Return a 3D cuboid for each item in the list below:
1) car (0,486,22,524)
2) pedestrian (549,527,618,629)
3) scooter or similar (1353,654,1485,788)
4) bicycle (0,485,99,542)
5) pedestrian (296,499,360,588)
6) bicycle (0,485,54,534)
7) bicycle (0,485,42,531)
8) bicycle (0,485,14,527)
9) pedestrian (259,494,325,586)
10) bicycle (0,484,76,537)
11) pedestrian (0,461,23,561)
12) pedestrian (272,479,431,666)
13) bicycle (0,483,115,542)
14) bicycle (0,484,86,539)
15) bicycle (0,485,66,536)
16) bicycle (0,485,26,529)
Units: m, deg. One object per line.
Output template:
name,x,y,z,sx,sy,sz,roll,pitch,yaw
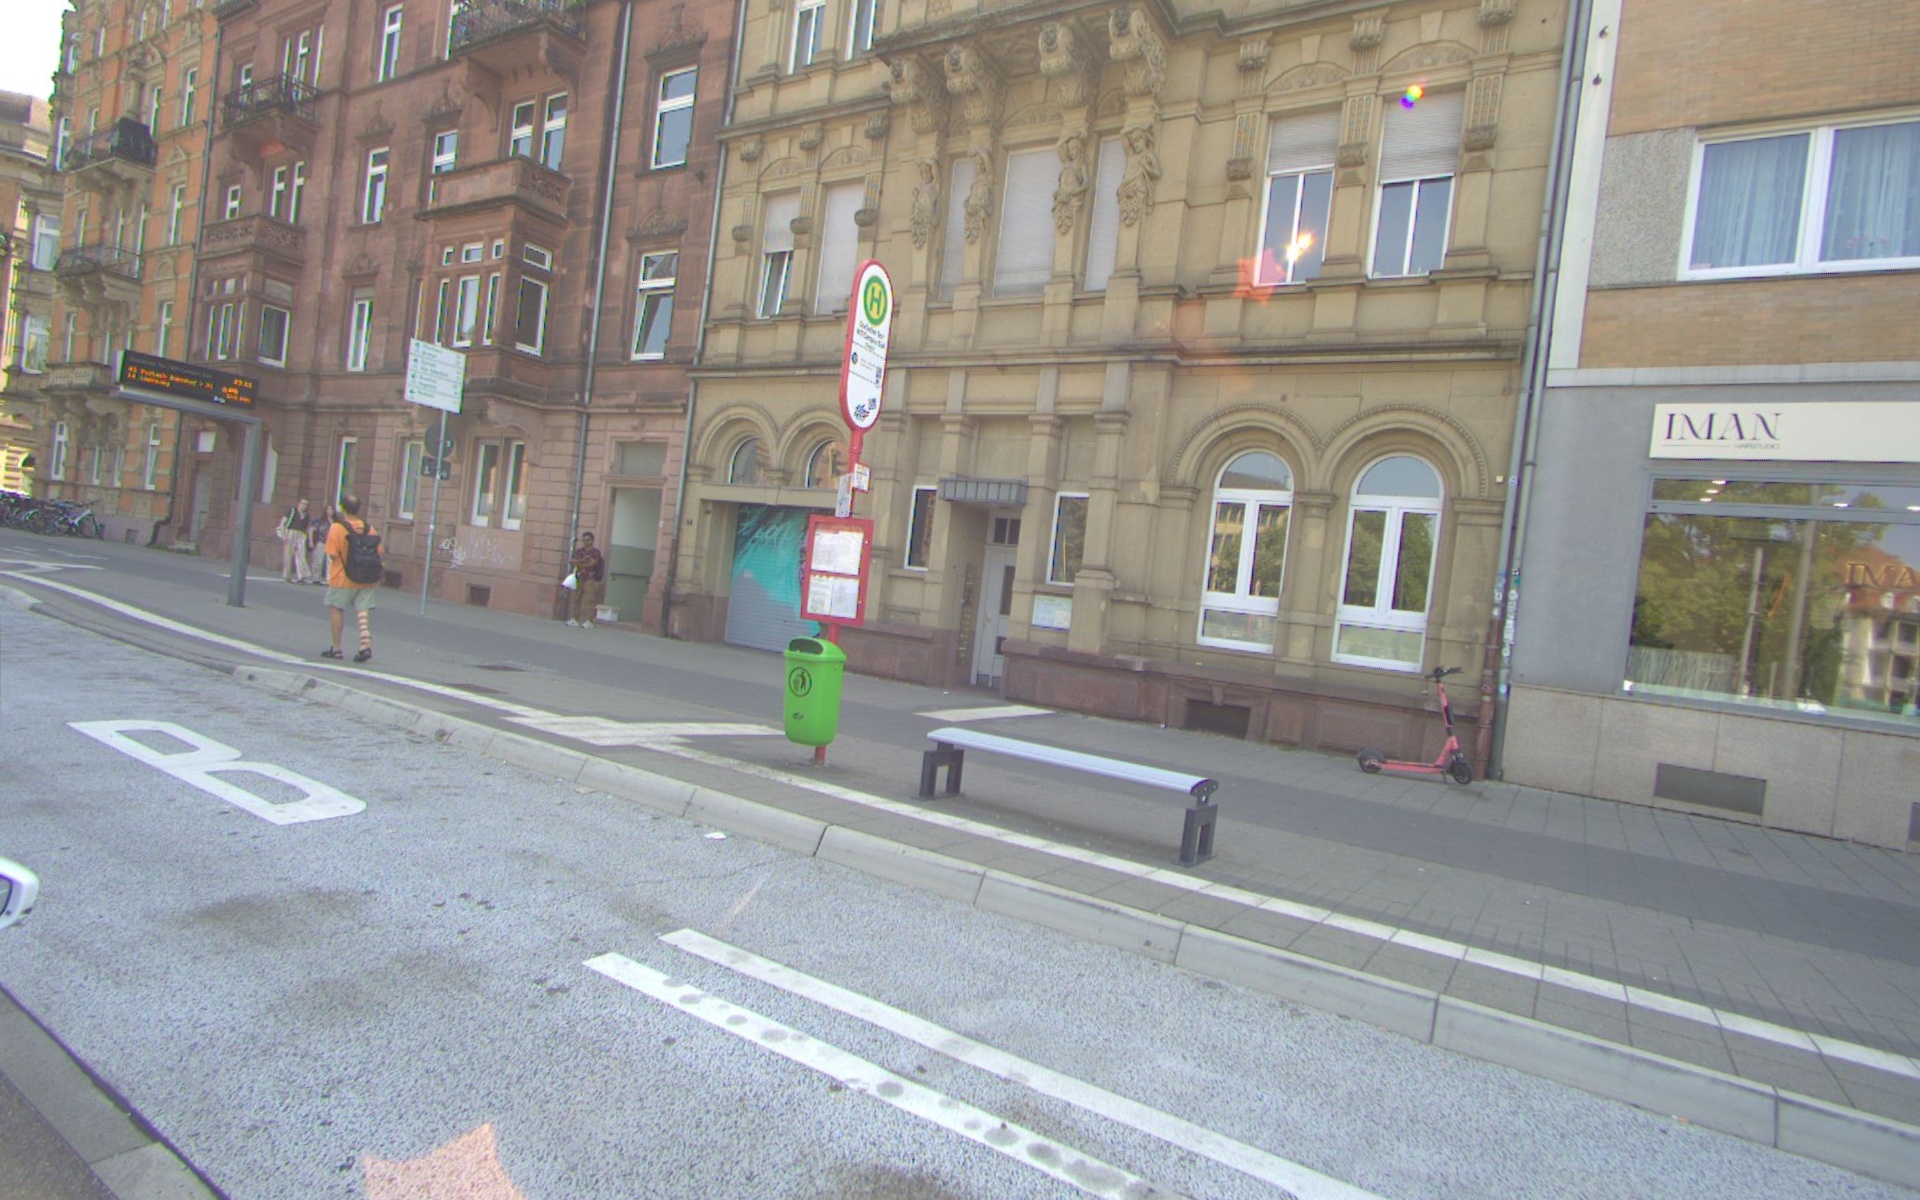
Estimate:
car,-41.998,-4.228,41.869,1.652,1.539,3.942,7,0,24
pedestrian,-7.034,-0.394,18.826,0.729,1.800,0.870,7,1,4
scooter or similar,4.889,1.261,10.726,1.122,1.228,0.476,7,1,27
bicycle,-27.873,-2.625,30.115,0.857,1.388,2.997,7,0,31
pedestrian,-13.728,-1.231,21.854,0.856,1.800,0.715,7,1,30
bicycle,-31.106,-3.031,32.135,0.932,1.390,3.007,7,0,31
bicycle,-31.965,-3.131,32.626,0.932,1.390,3.007,7,0,31
bicycle,-33.964,-3.360,33.784,0.932,1.390,3.007,7,0,31
pedestrian,-14.085,-1.260,21.213,0.833,1.798,0.715,7,1,31
bicycle,-29.420,-2.843,31.066,0.857,1.388,2.997,7,0,31
pedestrian,-17.512,-1.626,17.874,0.884,1.763,0.768,6,2,-1
pedestrian,-6.321,-0.270,10.450,1.222,1.761,0.962,4,-1,41
bicycle,-27.064,-2.606,29.723,0.857,1.388,2.997,7,0,31
bicycle,-28.647,-2.751,30.555,0.857,1.388,2.997,7,0,31
bicycle,-30.204,-2.927,31.557,0.932,1.390,3.007,7,0,31
bicycle,-33.078,-3.262,33.278,0.932,1.390,3.007,7,0,31
